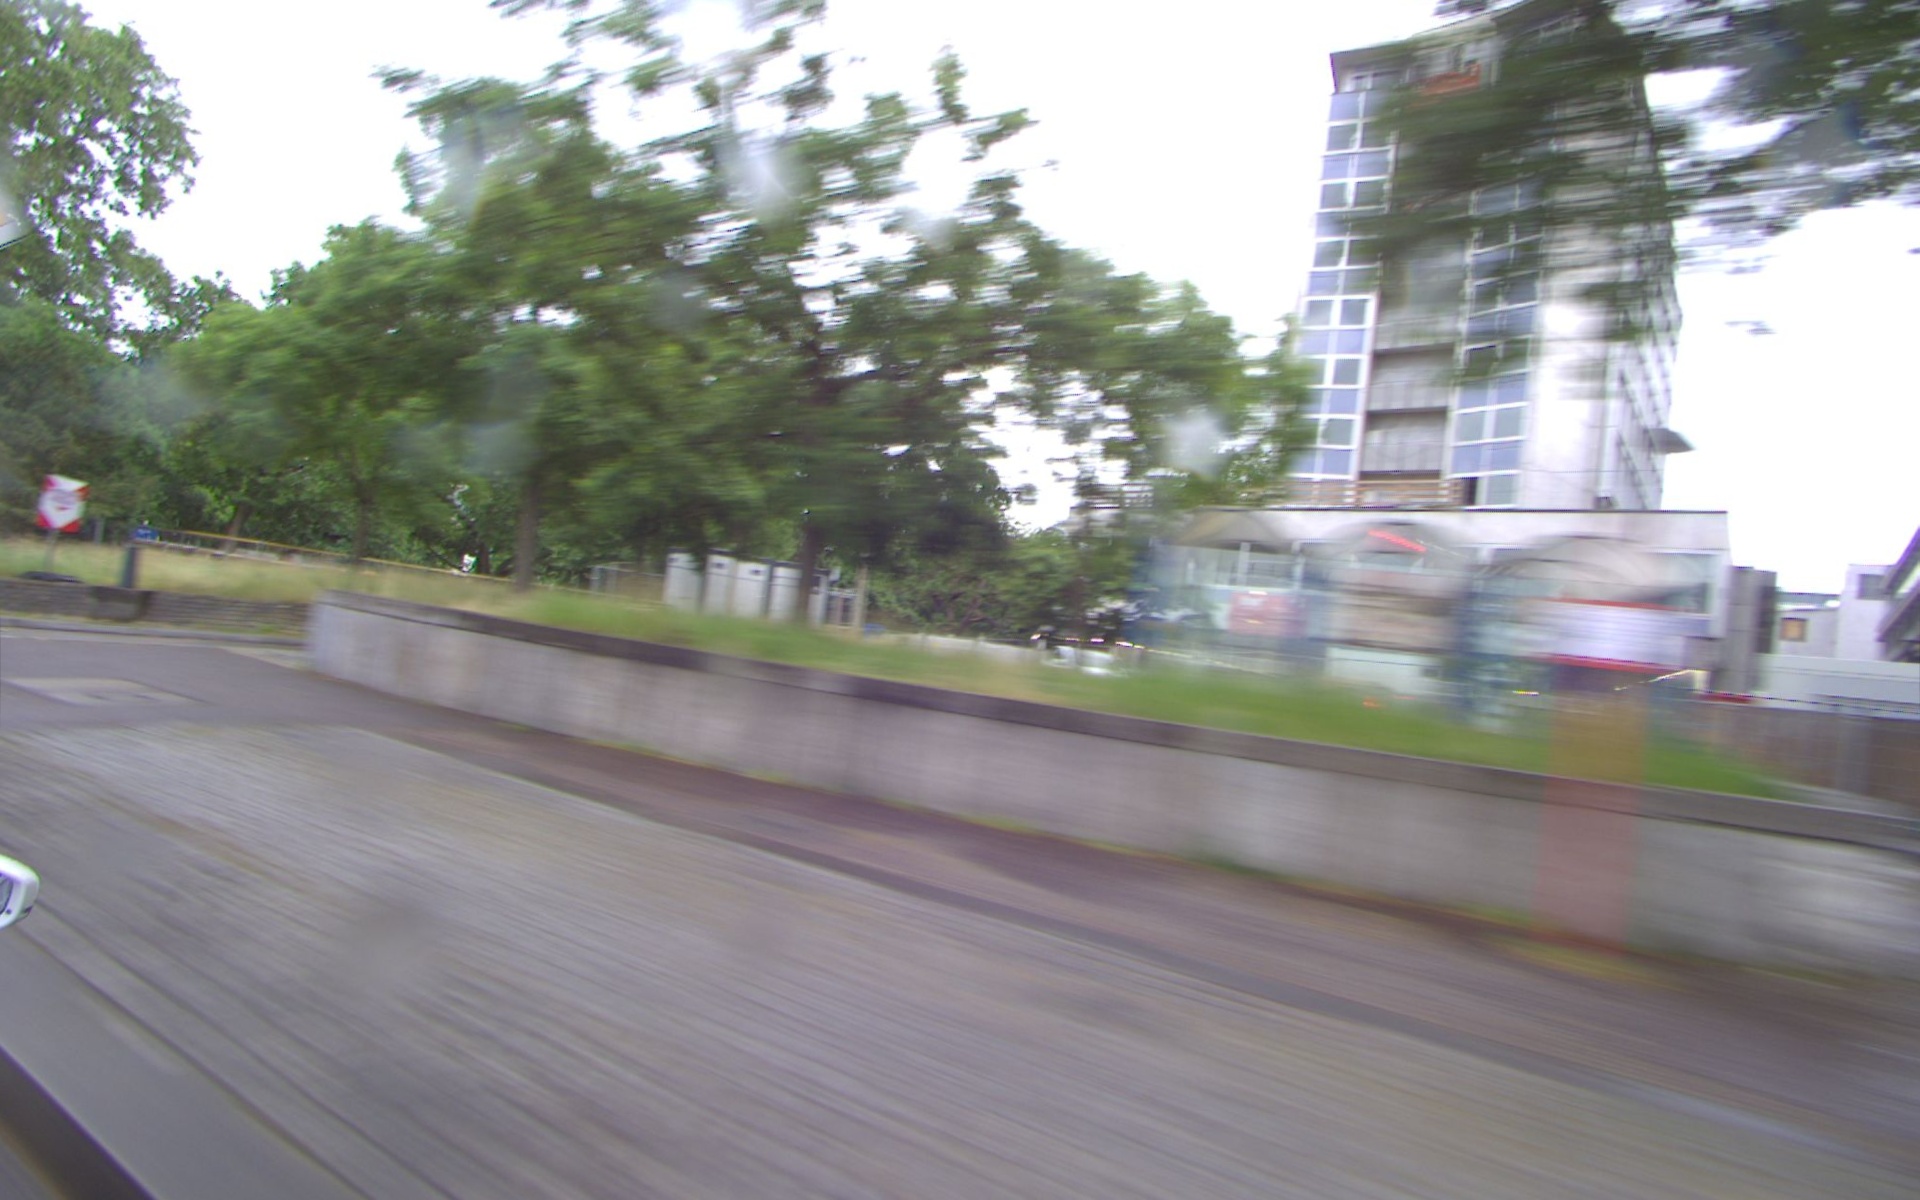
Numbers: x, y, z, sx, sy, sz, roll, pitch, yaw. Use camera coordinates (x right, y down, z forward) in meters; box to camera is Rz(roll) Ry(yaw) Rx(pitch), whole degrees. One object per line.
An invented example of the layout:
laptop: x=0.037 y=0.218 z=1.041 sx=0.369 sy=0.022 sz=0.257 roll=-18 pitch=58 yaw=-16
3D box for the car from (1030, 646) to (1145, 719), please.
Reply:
car: x=3.431 y=2.255 z=27.972 sx=1.965 sy=1.646 sz=4.763 roll=6 pitch=-4 yaw=-6
